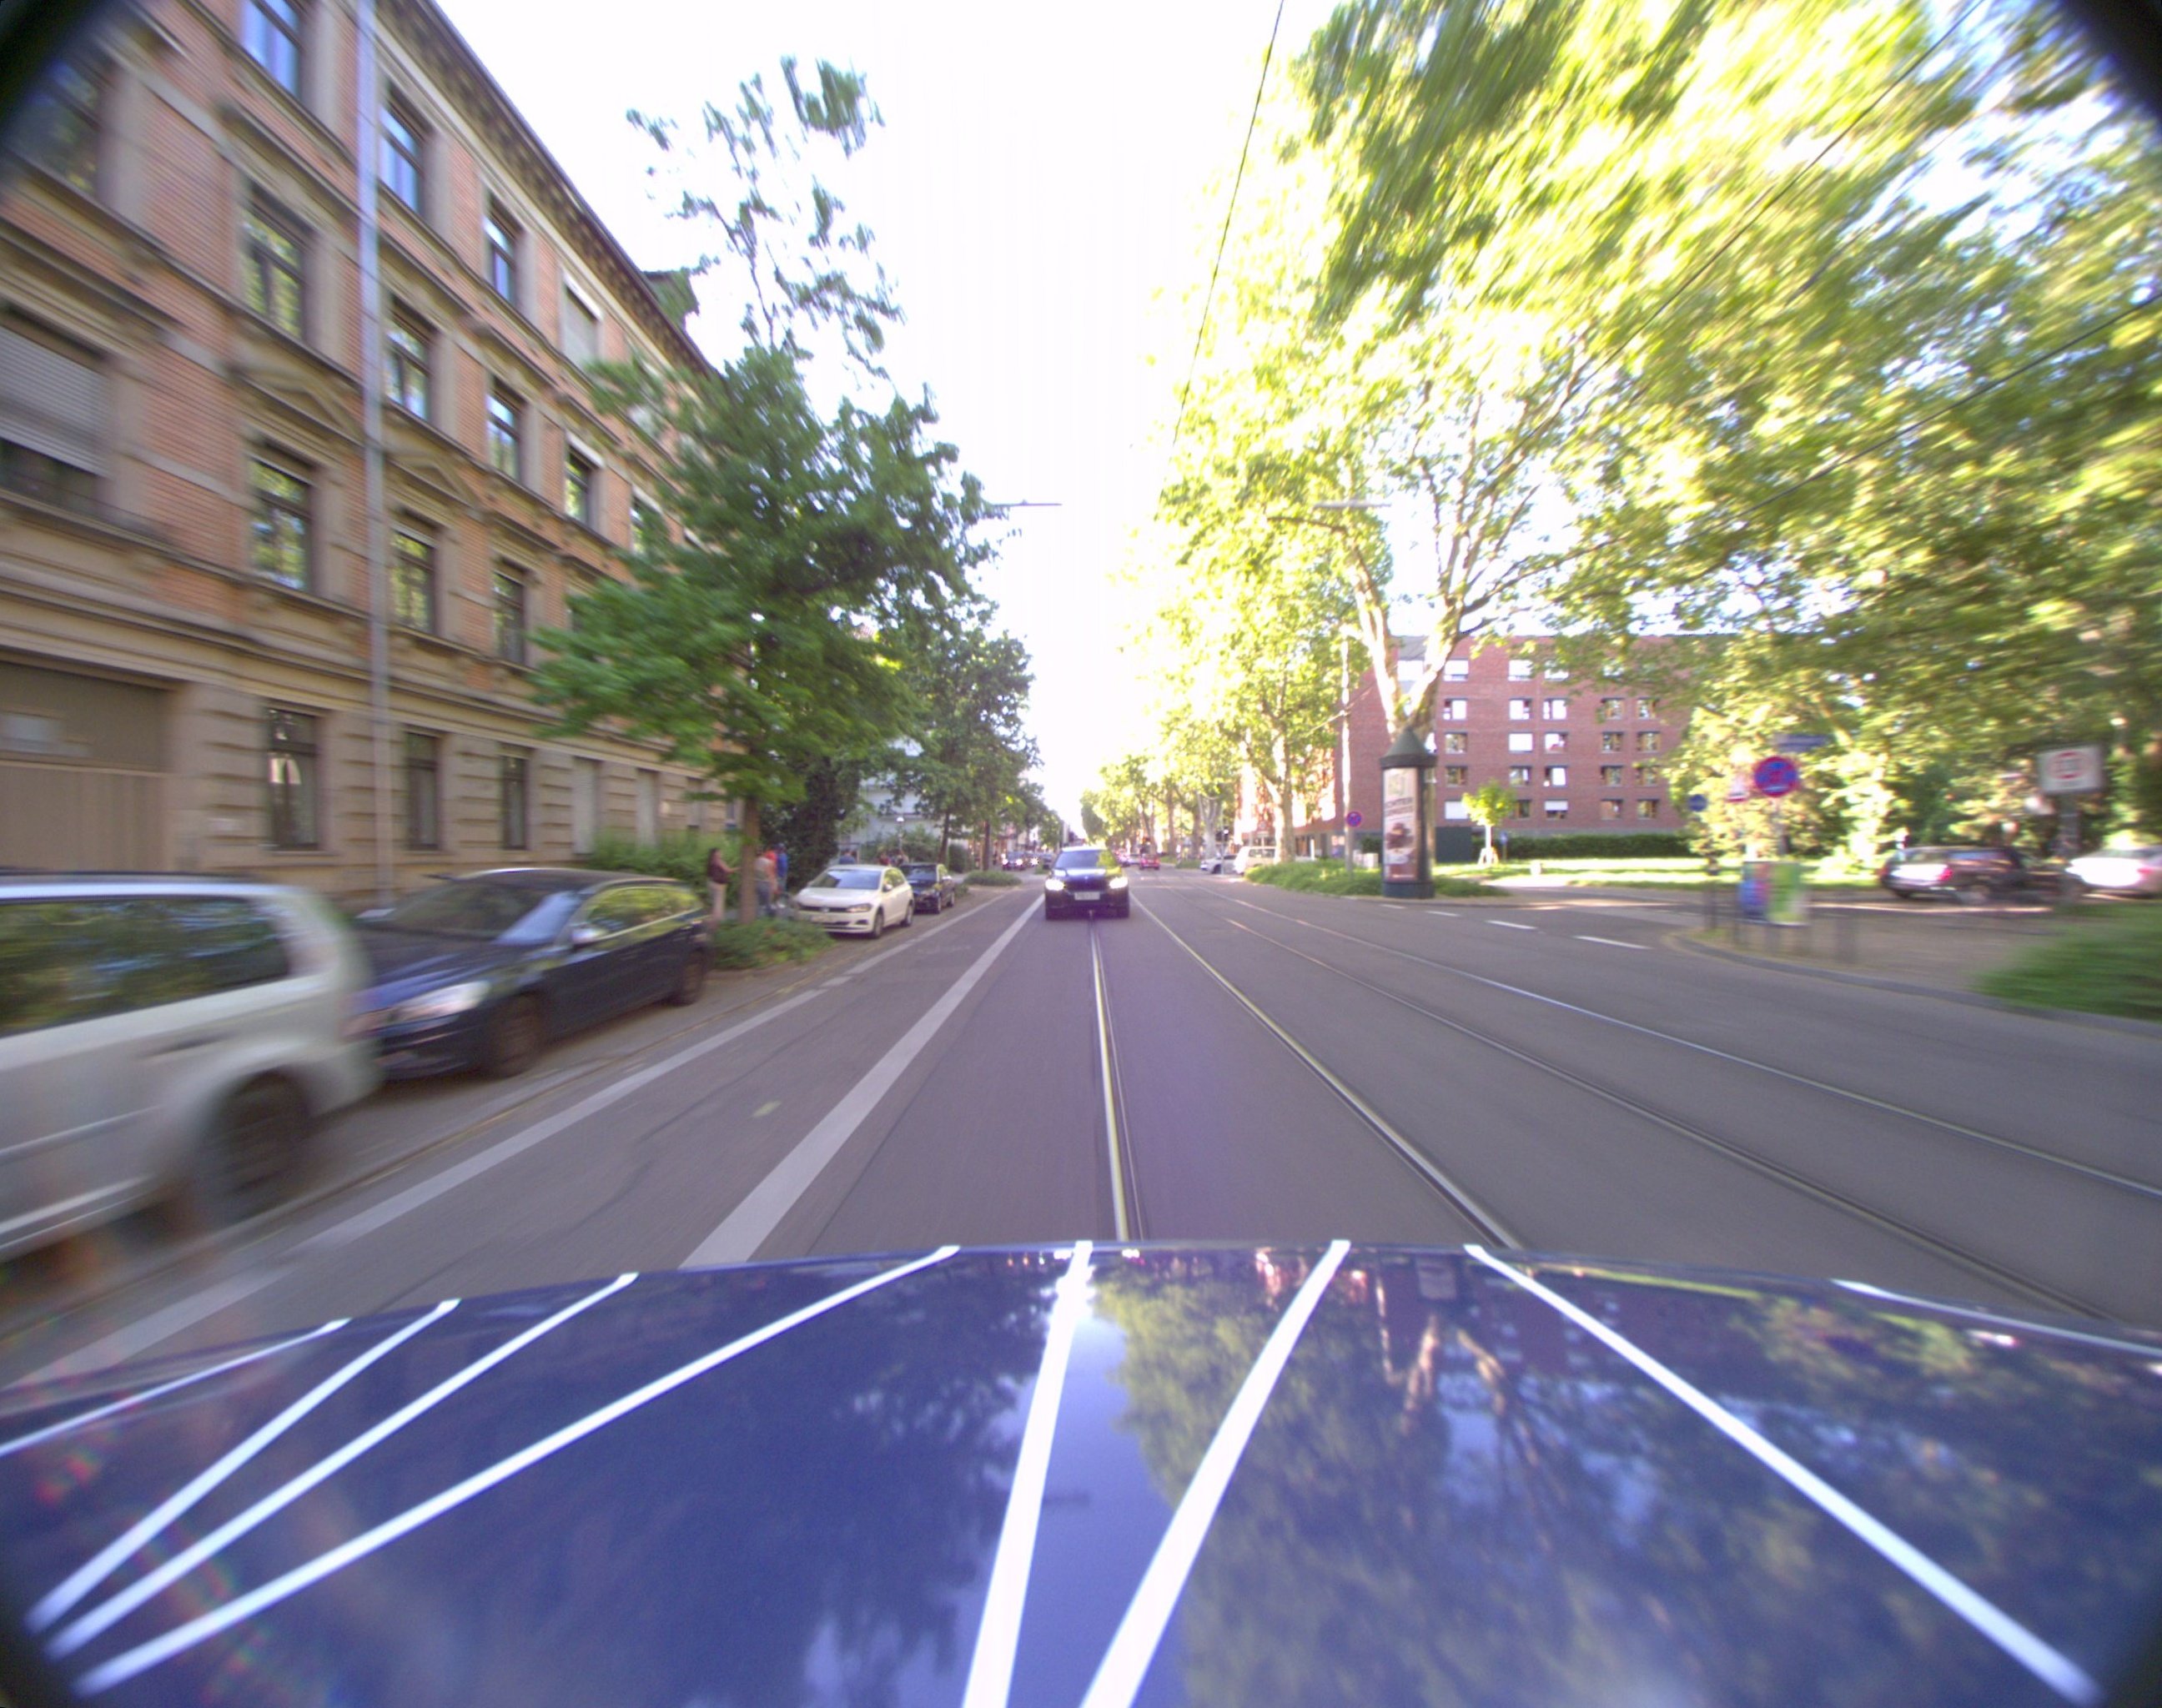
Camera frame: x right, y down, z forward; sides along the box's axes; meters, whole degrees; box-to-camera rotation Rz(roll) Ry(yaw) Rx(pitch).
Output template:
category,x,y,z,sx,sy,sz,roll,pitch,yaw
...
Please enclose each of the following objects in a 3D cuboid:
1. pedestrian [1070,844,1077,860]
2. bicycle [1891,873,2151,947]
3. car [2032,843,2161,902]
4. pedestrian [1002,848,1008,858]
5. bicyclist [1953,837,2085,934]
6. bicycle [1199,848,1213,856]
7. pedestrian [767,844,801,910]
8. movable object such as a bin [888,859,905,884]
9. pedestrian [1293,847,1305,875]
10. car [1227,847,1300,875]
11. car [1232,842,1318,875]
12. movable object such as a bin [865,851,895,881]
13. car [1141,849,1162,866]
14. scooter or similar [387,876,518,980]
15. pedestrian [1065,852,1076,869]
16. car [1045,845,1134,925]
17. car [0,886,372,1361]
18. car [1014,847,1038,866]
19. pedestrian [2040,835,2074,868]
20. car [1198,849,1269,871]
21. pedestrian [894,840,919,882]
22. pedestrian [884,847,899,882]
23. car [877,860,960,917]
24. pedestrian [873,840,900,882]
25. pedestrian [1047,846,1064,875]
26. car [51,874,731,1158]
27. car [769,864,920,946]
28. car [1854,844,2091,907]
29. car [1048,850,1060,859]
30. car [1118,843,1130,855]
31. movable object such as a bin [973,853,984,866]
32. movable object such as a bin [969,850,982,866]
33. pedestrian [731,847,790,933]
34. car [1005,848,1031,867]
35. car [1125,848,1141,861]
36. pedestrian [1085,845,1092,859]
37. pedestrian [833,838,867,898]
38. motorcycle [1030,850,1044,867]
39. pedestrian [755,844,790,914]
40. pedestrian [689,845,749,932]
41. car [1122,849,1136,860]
category,x,y,z,sx,sy,sz,roll,pitch,yaw
pedestrian,-0.836,-0.202,82.664,0.690,1.745,0.580,-2,1,-6
bicycle,15.486,0.867,12.681,0.971,0.993,2.580,-2,1,-9
car,29.484,0.476,21.074,4.482,1.441,1.822,-2,1,-7
pedestrian,-9.509,-0.101,95.363,0.680,1.198,0.648,-2,1,-10
bicyclist,15.492,0.491,12.583,0.802,1.498,1.116,-2,1,-10
bicycle,20.501,-0.313,124.849,2.098,1.182,0.882,-1,1,17
pedestrian,-8.213,0.623,21.037,0.600,1.783,0.728,-1,1,-2
movable object such as a bin,-8.836,0.827,36.437,0.667,1.120,0.956,-2,1,-7
pedestrian,14.221,0.453,49.574,0.645,1.799,0.752,-1,1,6
car,11.526,0.421,48.134,4.150,1.637,1.902,-1,1,-1
car,11.485,0.263,45.180,4.582,1.823,1.938,-1,1,-1
movable object such as a bin,-8.287,0.464,31.349,0.640,1.195,1.306,1,1,11
car,6.427,0.316,69.393,1.665,1.435,3.473,-1,1,1
scooter or similar,-8.418,0.952,10.243,0.577,1.239,1.335,-1,1,2
pedestrian,-0.692,0.423,51.942,0.660,1.112,0.676,-2,1,-7
car,0.218,0.673,19.588,1.937,1.719,5.072,-2,1,0
car,-4.784,1.012,1.972,1.889,1.559,4.241,2,1,0
car,-5.816,0.217,81.167,1.998,1.885,4.194,2,1,2
pedestrian,49.529,-0.118,38.556,0.777,1.664,0.712,-1,1,17
car,11.213,0.430,56.114,4.776,1.452,1.954,-1,1,-1
pedestrian,-7.500,0.303,32.656,0.727,1.783,0.854,1,1,11
pedestrian,-9.253,0.500,37.086,0.620,1.716,0.553,-2,1,-15
car,-4.744,0.958,22.717,1.677,1.404,3.841,2,1,-1
pedestrian,-8.303,0.289,32.431,0.727,1.783,0.968,1,1,11
pedestrian,-1.751,0.428,51.556,0.870,1.874,0.996,-2,1,-17
car,-5.179,1.027,6.825,1.889,1.458,4.593,2,1,0
car,-4.883,0.987,16.324,1.889,1.360,4.106,2,1,0
car,23.816,0.530,20.397,4.540,1.480,1.859,-1,1,-5
car,-4.608,0.109,131.441,1.899,1.477,3.999,-1,1,1
car,10.505,-1.181,185.457,2.429,2.833,5.072,-2,1,0
movable object such as a bin,-8.979,0.507,66.740,0.883,1.104,0.697,1,1,-2
movable object such as a bin,-9.564,0.375,68.933,1.002,1.389,0.824,1,1,-2
pedestrian,-6.507,0.709,15.469,0.728,1.683,0.957,-1,1,3
car,-5.609,0.317,67.770,1.766,1.612,4.442,1,0,2
car,6.397,0.080,93.811,1.820,1.559,4.115,1,1,1
pedestrian,0.878,-0.232,88.486,0.836,1.703,0.640,-1,1,2
pedestrian,-6.963,0.416,22.902,0.599,1.783,0.729,-1,1,21
motorcycle,-4.017,0.417,69.669,1.054,1.446,2.208,-1,1,1
pedestrian,-8.170,0.646,20.128,0.600,1.783,0.728,-1,1,-2
pedestrian,-7.355,0.678,15.490,0.727,1.699,0.856,-1,1,3
car,6.694,0.077,106.146,1.780,1.452,4.204,-1,1,1
